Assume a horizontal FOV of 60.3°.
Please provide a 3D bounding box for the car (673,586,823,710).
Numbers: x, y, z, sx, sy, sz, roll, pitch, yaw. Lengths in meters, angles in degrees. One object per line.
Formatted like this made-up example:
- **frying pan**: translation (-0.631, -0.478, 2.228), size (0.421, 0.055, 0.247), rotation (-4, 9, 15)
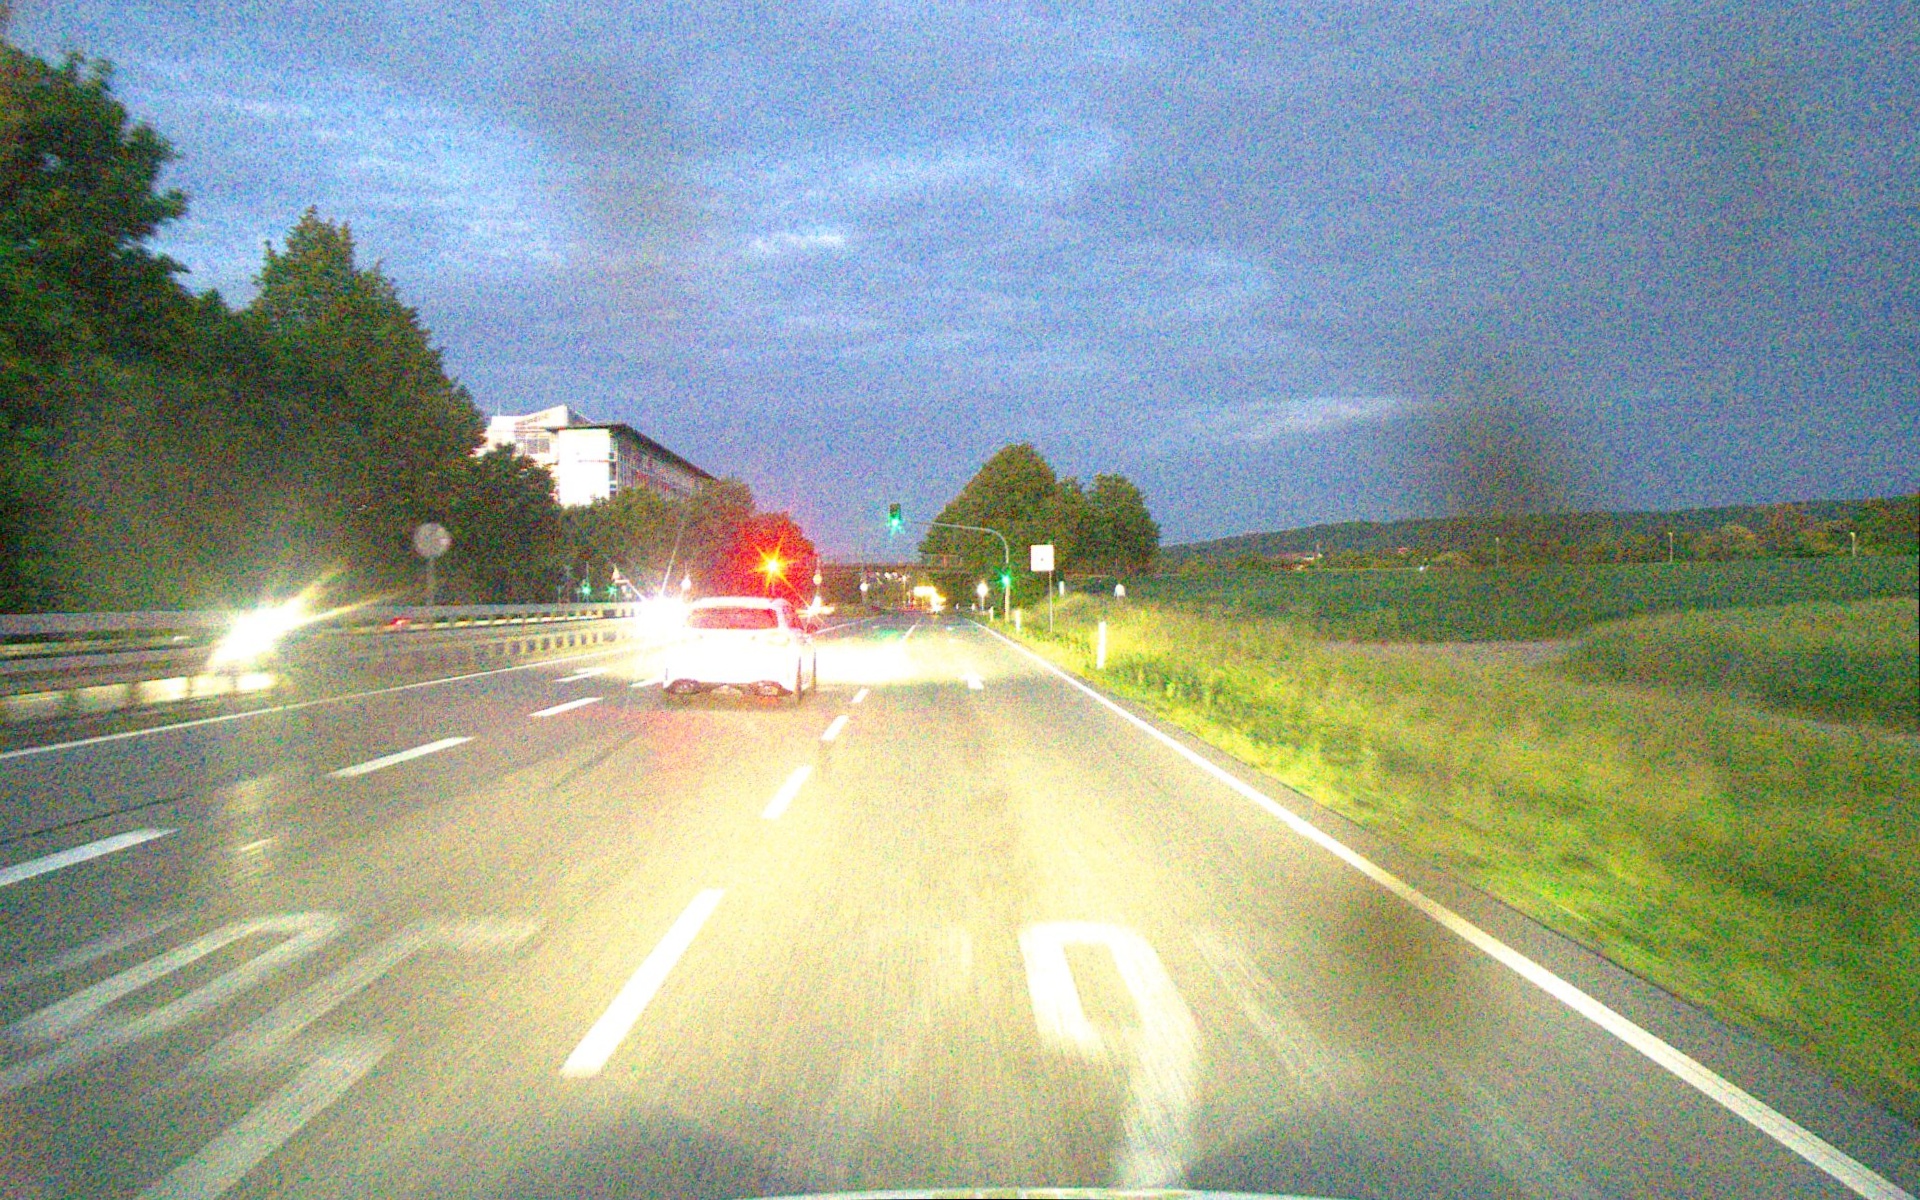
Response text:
- **car**: translation (-2.834, 0.583, 22.947), size (1.609, 1.516, 4.578), rotation (1, 0, -2)

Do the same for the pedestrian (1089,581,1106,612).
- **pedestrian**: translation (8.256, -0.233, 99.397), size (0.903, 1.824, 1.106), rotation (1, 0, -1)

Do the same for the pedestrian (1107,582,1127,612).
- **pedestrian**: translation (9.417, -0.166, 99.163), size (1.068, 1.753, 1.260), rotation (1, 0, -2)

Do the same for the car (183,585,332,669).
- **car**: translation (-15.631, 0.562, 37.036), size (1.581, 1.753, 4.314), rotation (1, 0, -2)
